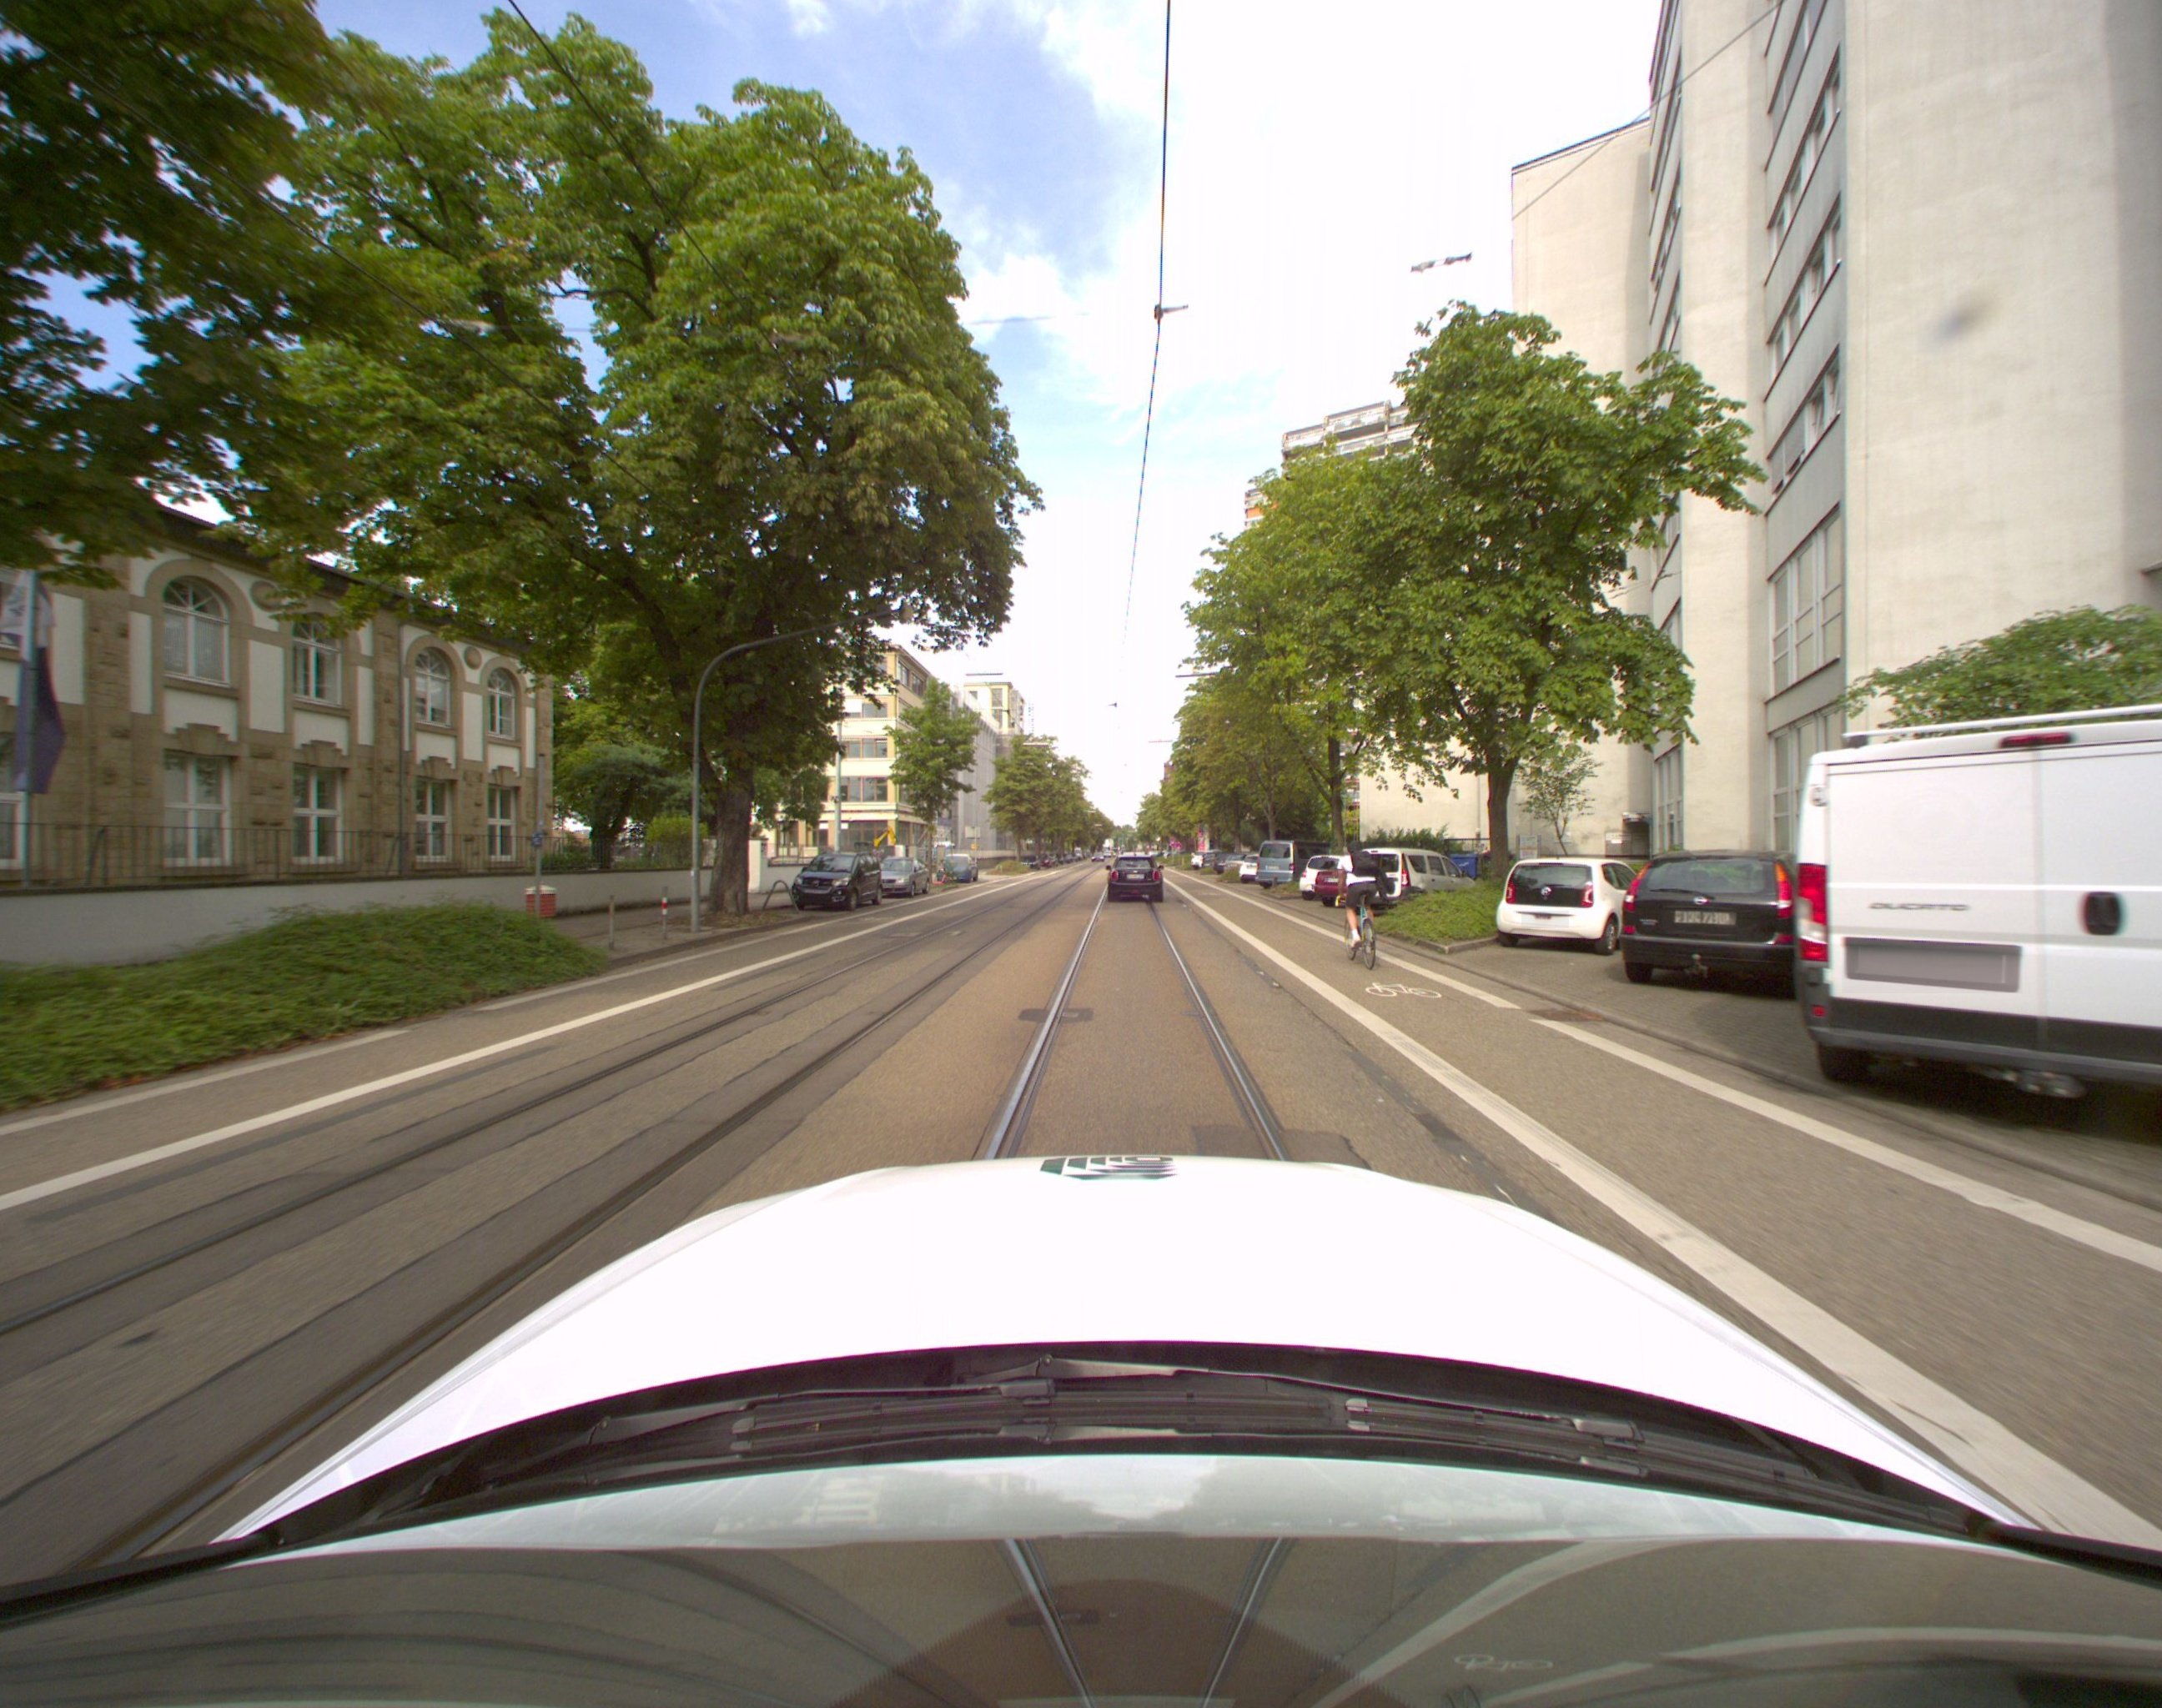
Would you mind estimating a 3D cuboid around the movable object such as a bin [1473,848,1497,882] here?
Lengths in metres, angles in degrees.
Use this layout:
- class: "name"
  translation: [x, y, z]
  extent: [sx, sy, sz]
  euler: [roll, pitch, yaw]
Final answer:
- class: "movable object such as a bin"
  translation: [19.373, 0.519, 39.042]
  extent: [1.022, 1.562, 1.085]
  euler: [1, 0, 26]

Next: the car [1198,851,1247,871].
- class: "car"
  translation: [10.415, 0.506, 59.855]
  extent: [3.551, 1.442, 1.606]
  euler: [0, 0, -36]

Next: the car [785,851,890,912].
- class: "car"
  translation: [-7.082, 0.741, 24.129]
  extent: [1.749, 1.647, 4.054]
  euler: [1, 0, 2]

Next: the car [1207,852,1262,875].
- class: "car"
  translation: [9.991, 0.577, 52.938]
  extent: [3.760, 1.458, 1.621]
  euler: [0, 0, -42]

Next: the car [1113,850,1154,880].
- class: "car"
  translation: [2.670, 0.529, 42.173]
  extent: [1.788, 1.470, 3.999]
  euler: [2, 0, 0]

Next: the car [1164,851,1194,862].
- class: "car"
  translation: [13.435, 0.321, 111.580]
  extent: [3.974, 1.425, 1.884]
  euler: [0, 0, -1]

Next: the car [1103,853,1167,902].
- class: "car"
  translation: [1.659, 0.683, 26.052]
  extent: [1.788, 1.423, 4.000]
  euler: [1, 0, 0]

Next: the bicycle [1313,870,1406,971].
- class: "bicycle"
  translation: [3.940, 0.892, 11.690]
  extent: [0.655, 1.249, 2.126]
  euler: [1, 0, 2]

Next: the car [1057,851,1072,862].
- class: "car"
  translation: [-2.354, 0.382, 116.772]
  extent: [1.795, 1.583, 4.033]
  euler: [-1, 0, 2]

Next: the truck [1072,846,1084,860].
- class: "truck"
  translation: [-0.520, -0.254, 150.301]
  extent: [2.063, 2.470, 4.902]
  euler: [-1, 0, 2]

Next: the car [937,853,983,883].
- class: "car"
  translation: [-6.300, 0.691, 42.784]
  extent: [1.686, 1.487, 3.679]
  euler: [1, 0, 2]

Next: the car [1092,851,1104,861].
- class: "car"
  translation: [2.631, 0.333, 123.945]
  extent: [1.827, 1.448, 4.556]
  euler: [0, 0, 2]

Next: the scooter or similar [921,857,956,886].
- class: "scooter or similar"
  translation: [-6.720, 0.831, 38.488]
  extent: [1.437, 1.344, 0.701]
  euler: [-1, 0, 4]

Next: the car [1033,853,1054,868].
- class: "car"
  translation: [-3.993, 0.672, 87.030]
  extent: [1.795, 1.583, 4.033]
  euler: [-1, 0, 2]

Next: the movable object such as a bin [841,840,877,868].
- class: "movable object such as a bin"
  translation: [-16.414, 0.002, 60.186]
  extent: [1.977, 2.067, 1.963]
  euler: [0, 0, 5]

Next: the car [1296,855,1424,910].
- class: "car"
  translation: [8.063, 0.765, 23.366]
  extent: [3.996, 1.432, 1.670]
  euler: [0, 0, -40]

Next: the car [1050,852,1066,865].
- class: "car"
  translation: [-3.008, 0.568, 106.625]
  extent: [1.795, 1.583, 4.033]
  euler: [-1, 0, 2]

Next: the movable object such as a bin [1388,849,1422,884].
- class: "movable object such as a bin"
  translation: [14.367, 0.530, 36.123]
  extent: [1.065, 1.508, 1.215]
  euler: [1, 0, 3]

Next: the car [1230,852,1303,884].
- class: "car"
  translation: [9.045, 0.642, 39.501]
  extent: [3.851, 1.460, 1.620]
  euler: [0, 0, -44]

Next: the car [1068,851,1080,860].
- class: "car"
  translation: [-1.217, 0.253, 137.203]
  extent: [1.795, 1.583, 4.033]
  euler: [-1, 0, 2]

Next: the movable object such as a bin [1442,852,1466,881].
- class: "movable object such as a bin"
  translation: [18.191, 0.600, 39.667]
  extent: [1.022, 1.367, 1.085]
  euler: [1, 0, 26]

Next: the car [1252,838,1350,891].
- class: "car"
  translation: [8.945, 0.408, 32.921]
  extent: [4.299, 2.015, 1.809]
  euler: [0, 0, -42]

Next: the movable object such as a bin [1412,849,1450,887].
- class: "movable object such as a bin"
  translation: [14.238, 0.550, 33.167]
  extent: [1.065, 1.508, 1.324]
  euler: [1, 0, 3]

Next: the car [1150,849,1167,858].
- class: "car"
  translation: [17.950, -0.082, 188.738]
  extent: [3.974, 1.910, 2.000]
  euler: [1, 0, 0]

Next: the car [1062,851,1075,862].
- class: "car"
  translation: [-1.917, 0.328, 125.807]
  extent: [1.795, 1.583, 4.033]
  euler: [-1, 0, 2]

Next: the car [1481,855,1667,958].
- class: "car"
  translation: [8.581, 0.780, 14.032]
  extent: [4.114, 1.511, 1.669]
  euler: [0, 0, -43]

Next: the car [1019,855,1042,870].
- class: "car"
  translation: [-4.712, 0.771, 76.493]
  extent: [1.795, 1.374, 4.033]
  euler: [-1, 0, 2]

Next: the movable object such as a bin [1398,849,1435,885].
- class: "movable object such as a bin"
  translation: [14.335, 0.539, 34.814]
  extent: [1.065, 1.508, 1.324]
  euler: [1, 0, 3]

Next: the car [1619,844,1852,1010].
- class: "car"
  translation: [8.186, 0.732, 10.056]
  extent: [3.982, 1.648, 1.669]
  euler: [0, 0, -42]

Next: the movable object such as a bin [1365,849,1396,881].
- class: "movable object such as a bin"
  translation: [14.487, 0.507, 39.402]
  extent: [1.065, 1.508, 1.335]
  euler: [1, 0, 3]

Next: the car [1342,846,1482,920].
- class: "car"
  translation: [8.317, 0.649, 20.299]
  extent: [4.131, 1.668, 1.669]
  euler: [0, 0, -43]

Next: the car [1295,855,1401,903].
- class: "car"
  translation: [8.682, 0.746, 26.342]
  extent: [3.737, 1.432, 1.669]
  euler: [0, 0, -42]

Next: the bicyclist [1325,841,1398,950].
- class: "bicyclist"
  translation: [3.947, 0.554, 11.539]
  extent: [0.655, 1.463, 1.179]
  euler: [1, 0, 2]

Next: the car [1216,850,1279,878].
- class: "car"
  translation: [9.513, 0.565, 46.318]
  extent: [3.760, 1.522, 1.621]
  euler: [0, 0, -42]

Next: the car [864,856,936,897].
- class: "car"
  translation: [-6.740, 0.805, 30.743]
  extent: [1.686, 1.427, 3.870]
  euler: [1, 0, 2]

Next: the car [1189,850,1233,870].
- class: "car"
  translation: [10.511, 0.429, 65.785]
  extent: [3.462, 1.573, 1.543]
  euler: [0, 0, -36]

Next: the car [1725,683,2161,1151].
- class: "car"
  translation: [6.846, 0.315, 6.019]
  extent: [4.984, 2.290, 2.357]
  euler: [0, 0, -40]

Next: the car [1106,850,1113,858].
- class: "car"
  translation: [7.037, 0.026, 201.481]
  extent: [1.795, 1.823, 4.487]
  euler: [-1, 0, 2]

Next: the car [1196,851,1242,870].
- class: "car"
  translation: [10.664, 0.485, 62.859]
  extent: [3.462, 1.442, 1.543]
  euler: [0, 0, -36]
